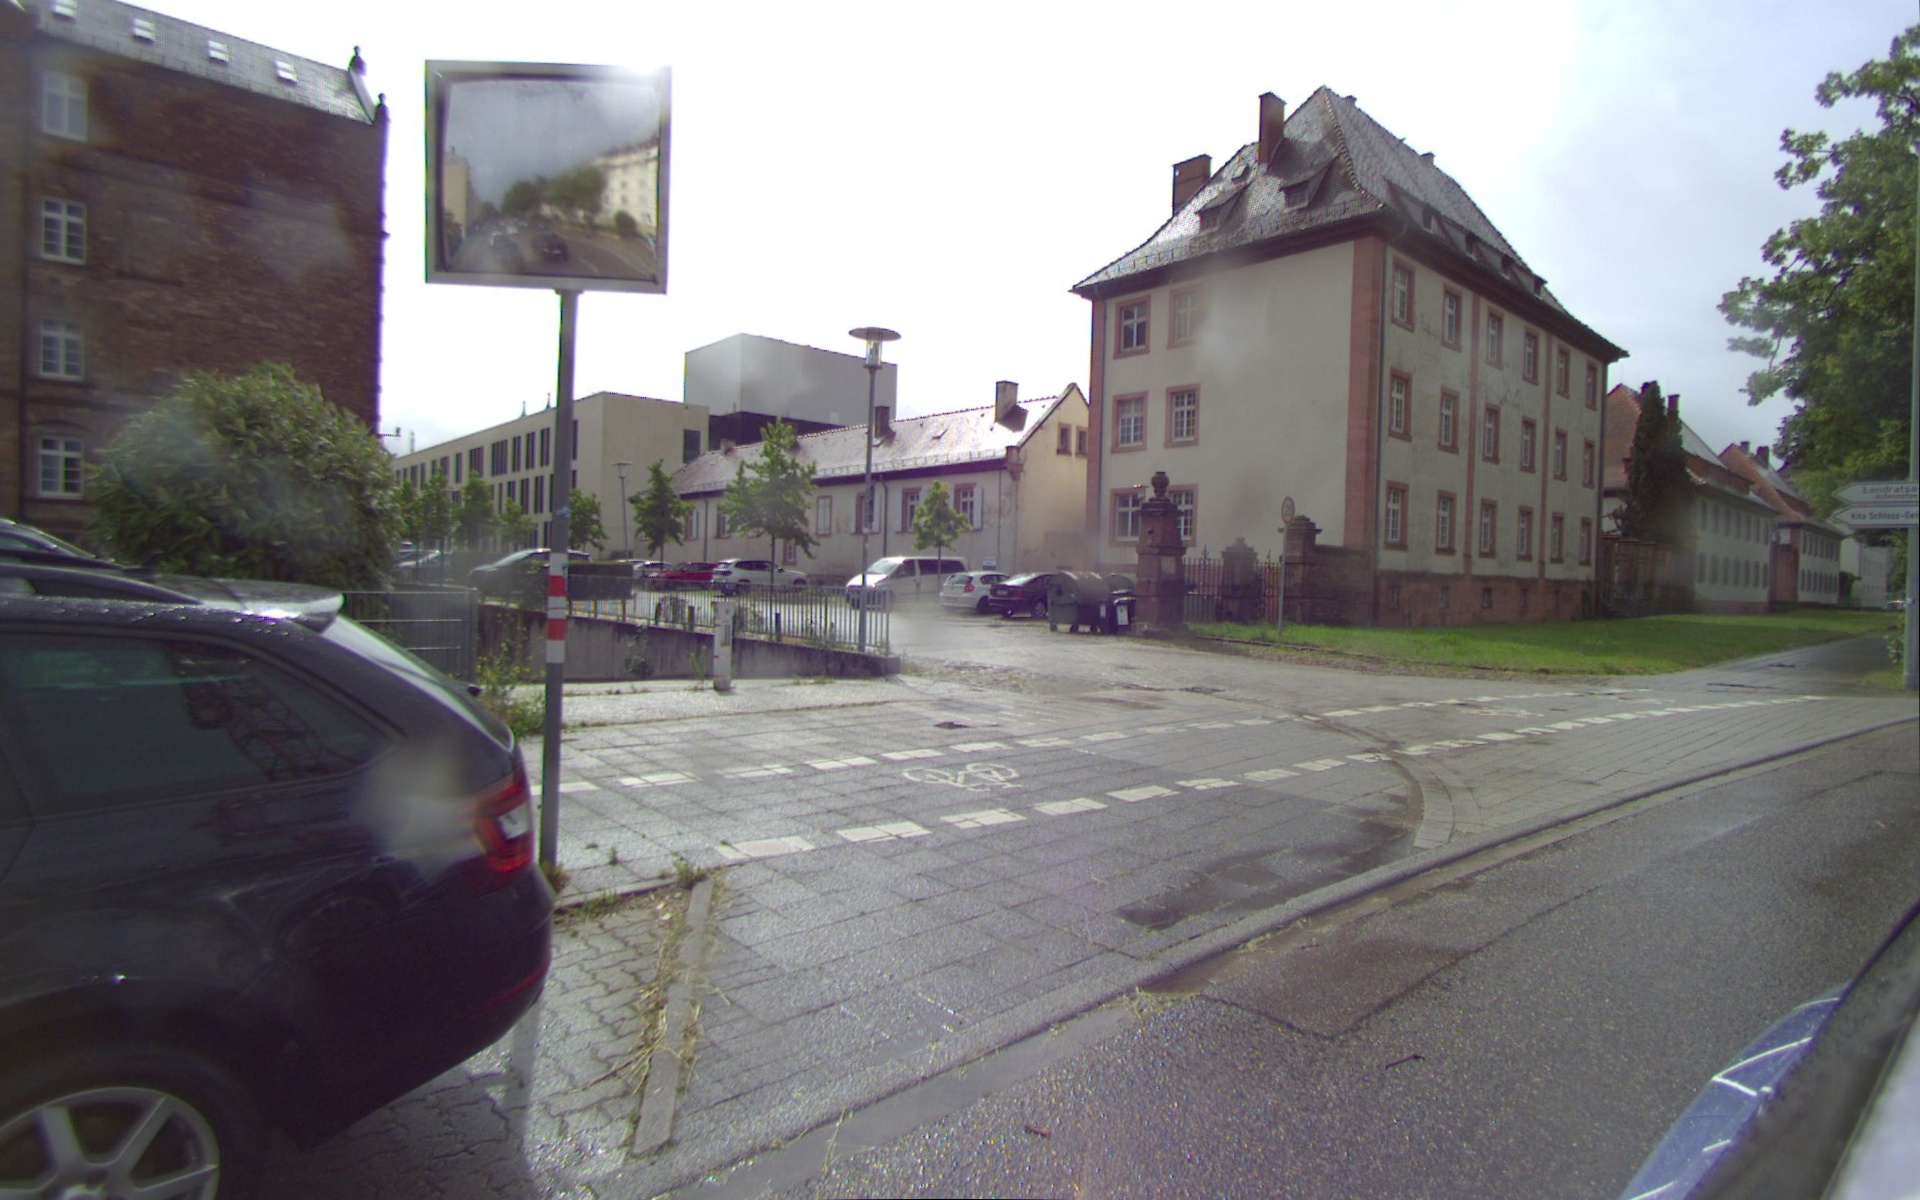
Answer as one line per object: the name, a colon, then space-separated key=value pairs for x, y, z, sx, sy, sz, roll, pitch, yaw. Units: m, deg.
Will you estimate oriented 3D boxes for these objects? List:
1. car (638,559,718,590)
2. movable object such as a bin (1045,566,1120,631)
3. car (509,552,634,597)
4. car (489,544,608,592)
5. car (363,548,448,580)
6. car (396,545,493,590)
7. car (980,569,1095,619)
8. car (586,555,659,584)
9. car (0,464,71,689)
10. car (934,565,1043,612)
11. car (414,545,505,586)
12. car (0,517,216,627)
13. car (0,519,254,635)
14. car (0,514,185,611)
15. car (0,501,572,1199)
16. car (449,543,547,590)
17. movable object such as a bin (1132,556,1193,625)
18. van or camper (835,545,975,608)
car: x=-14.415 y=-1.297 z=51.831 sx=3.511 sy=1.394 sz=1.707 roll=1 pitch=3 yaw=-41
movable object such as a bin: x=2.961 y=-0.045 z=24.505 sx=1.366 sy=1.475 sz=1.108 roll=1 pitch=3 yaw=-41
car: x=-13.581 y=-0.872 z=35.464 sx=3.738 sy=1.471 sz=1.758 roll=-1 pitch=1 yaw=-39
car: x=-15.238 y=-1.159 z=37.574 sx=3.738 sy=1.713 sz=1.758 roll=-1 pitch=0 yaw=-39
car: x=-29.927 y=-1.906 z=54.647 sx=3.738 sy=1.671 sz=1.758 roll=-1 pitch=0 yaw=-39
car: x=-23.989 y=-1.492 z=47.099 sx=3.738 sy=1.996 sz=1.758 roll=-1 pitch=0 yaw=-39
car: x=2.495 y=-0.182 z=32.123 sx=3.511 sy=1.464 sz=1.598 roll=1 pitch=3 yaw=-41
car: x=-18.952 y=-1.717 z=56.862 sx=3.511 sy=1.494 sz=1.707 roll=1 pitch=3 yaw=-41
car: x=-9.397 y=-0.227 z=7.510 sx=4.164 sy=1.771 sz=1.807 roll=0 pitch=2 yaw=-41
car: x=0.988 y=-0.374 z=34.469 sx=3.511 sy=1.464 sz=1.598 roll=1 pitch=3 yaw=-41
car: x=-24.795 y=-1.692 z=50.161 sx=3.738 sy=1.923 sz=1.758 roll=-1 pitch=0 yaw=-39
car: x=-14.987 y=-0.475 z=16.681 sx=4.340 sy=1.699 sz=1.859 roll=0 pitch=2 yaw=-36
car: x=-12.897 y=-0.347 z=14.626 sx=4.341 sy=1.545 sz=1.835 roll=0 pitch=2 yaw=-37
car: x=-17.192 y=-0.702 z=18.832 sx=4.344 sy=1.699 sz=1.858 roll=0 pitch=2 yaw=-40
car: x=-3.093 y=0.555 z=1.538 sx=4.305 sy=1.558 sz=1.777 roll=0 pitch=4 yaw=-44
car: x=-21.022 y=-1.482 z=46.084 sx=3.738 sy=2.032 sz=1.758 roll=-1 pitch=0 yaw=-39
movable object such as a bin: x=4.553 y=-0.216 z=22.779 sx=1.077 sy=1.475 sz=0.801 roll=1 pitch=2 yaw=-41
van or camper: x=-1.948 y=-0.817 z=37.188 sx=5.094 sy=2.143 sz=1.792 roll=1 pitch=0 yaw=-41
